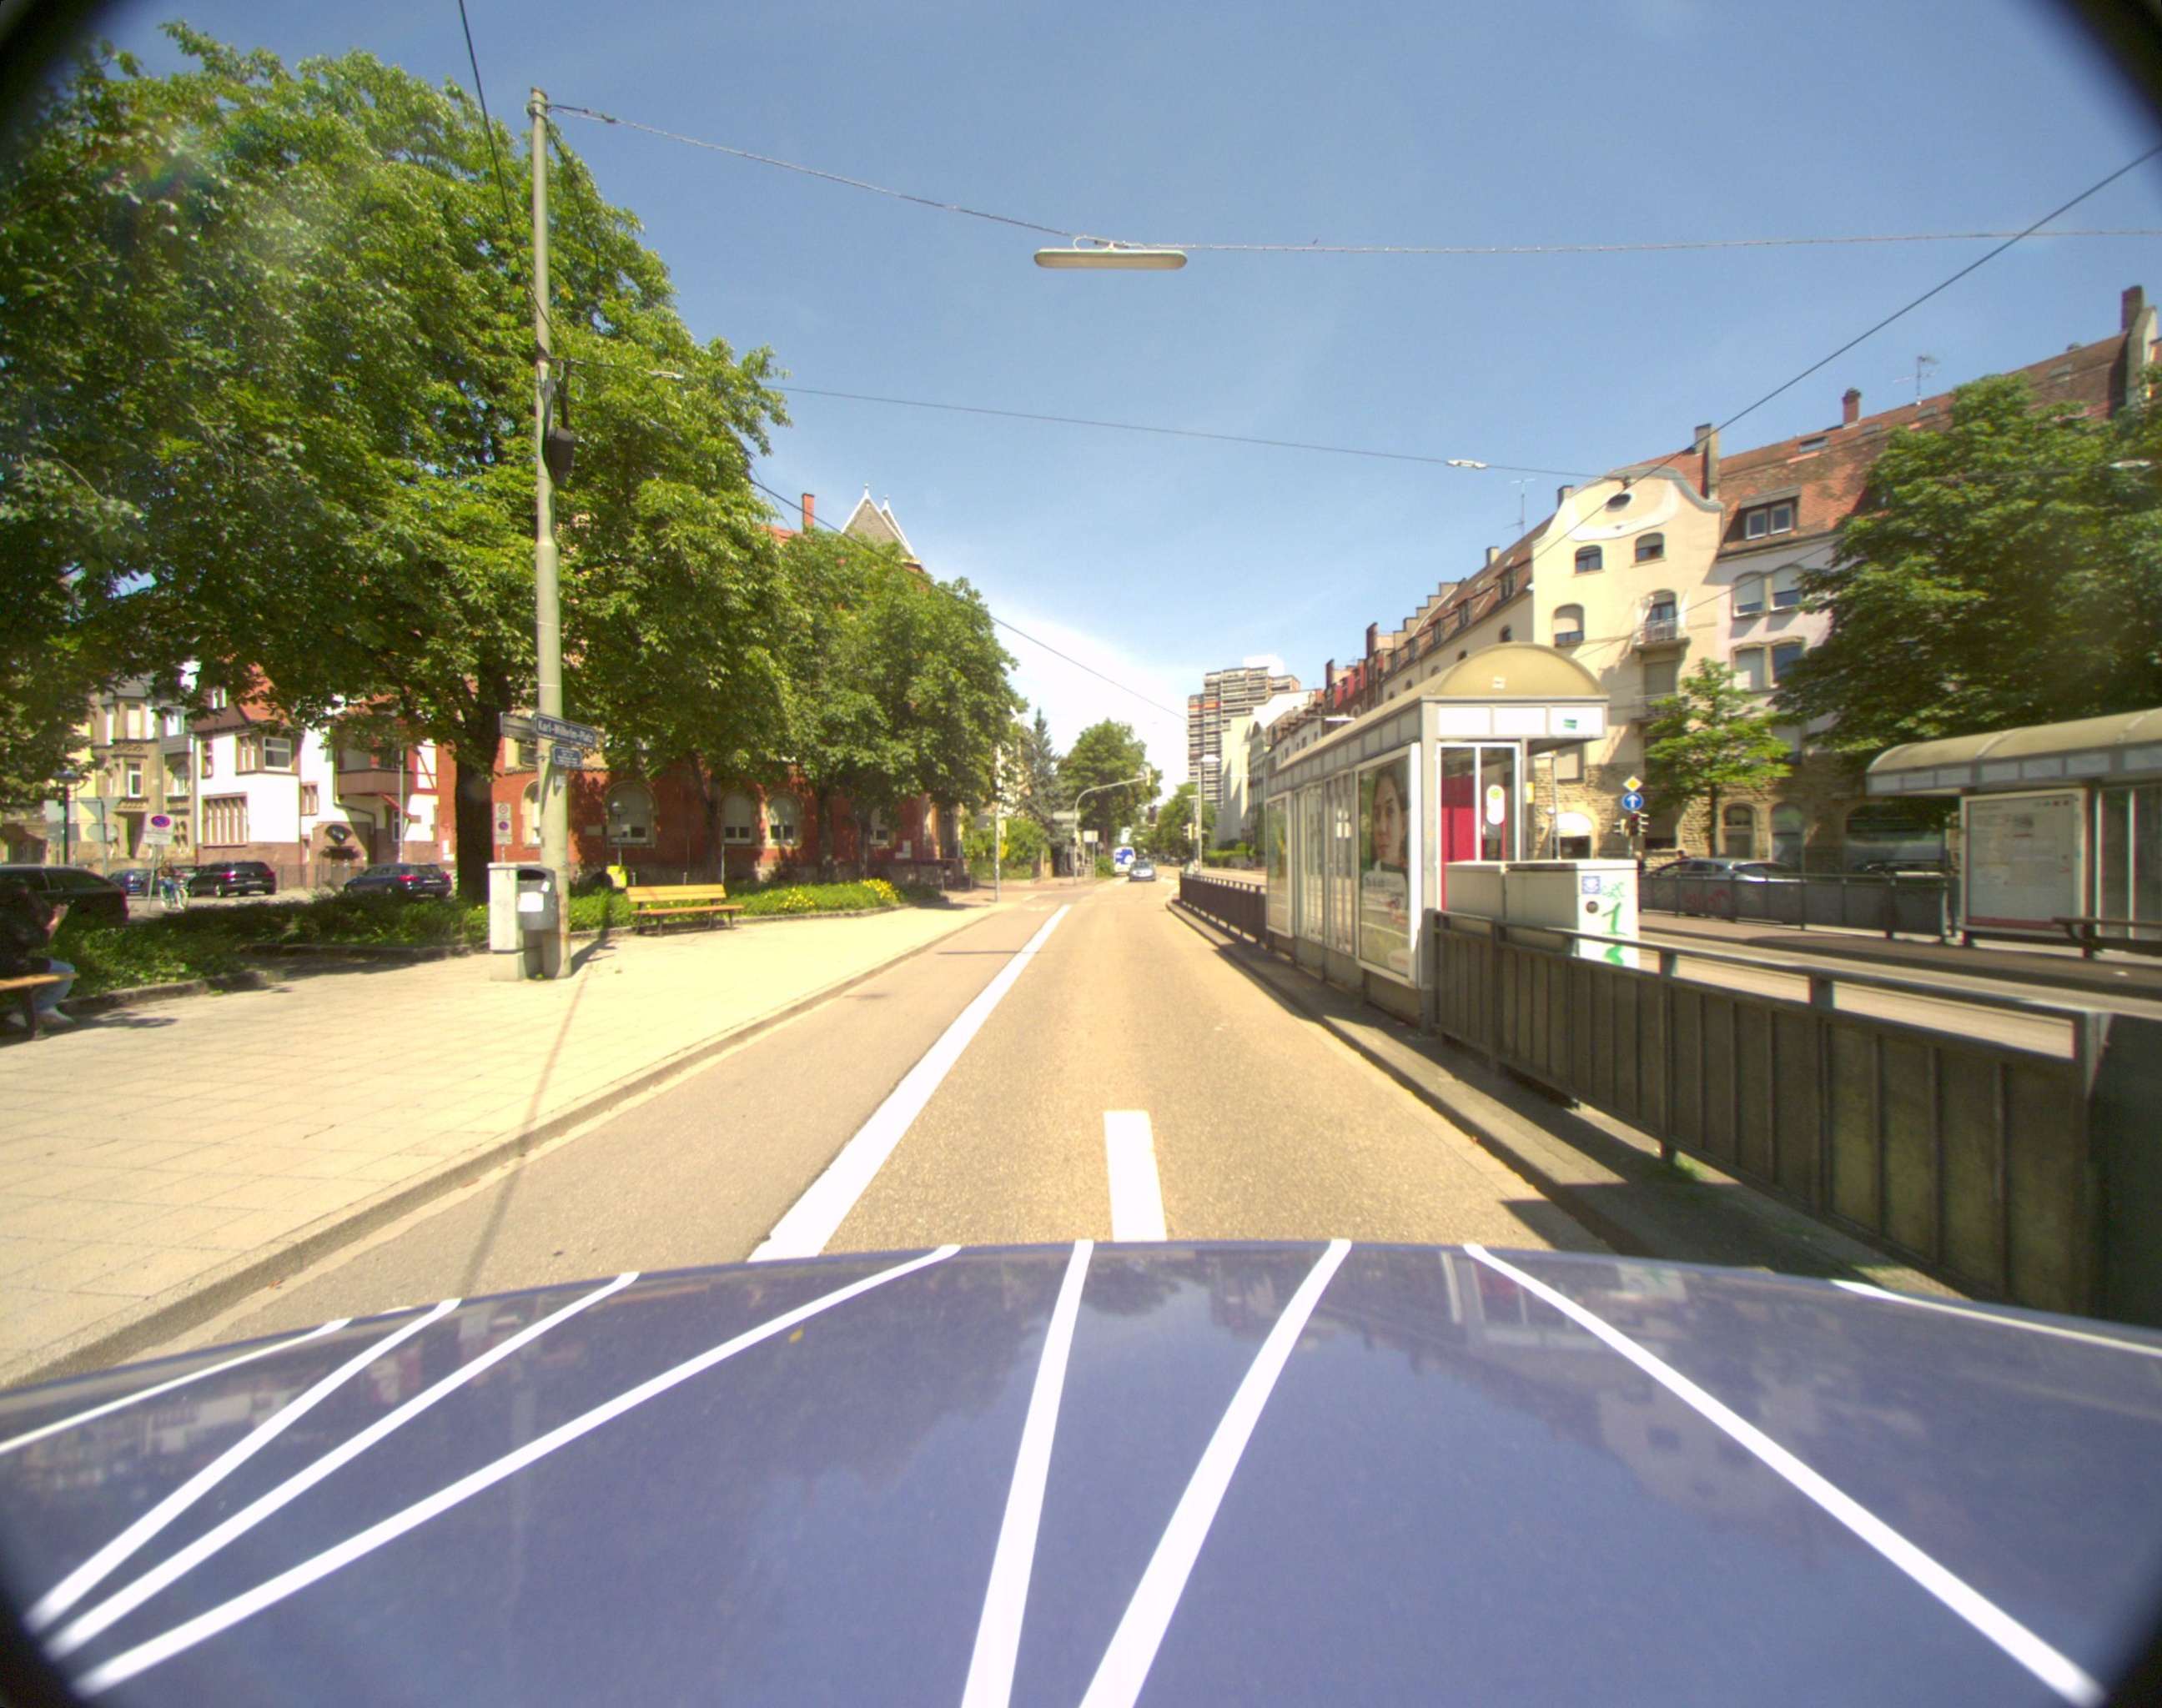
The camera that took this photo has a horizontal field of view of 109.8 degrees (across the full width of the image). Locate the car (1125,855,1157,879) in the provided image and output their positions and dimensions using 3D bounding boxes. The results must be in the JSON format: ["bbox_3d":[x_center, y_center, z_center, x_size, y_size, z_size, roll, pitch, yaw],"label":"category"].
[{"bbox_3d":[4.005,0.854,51.224,1.737,1.543,4.424,0,0,0],"label":"car"}]

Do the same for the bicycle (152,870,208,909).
[{"bbox_3d":[-30.487,1.186,25.701,1.926,1.285,0.641,0,0,22],"label":"bicycle"}]

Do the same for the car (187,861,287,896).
[{"bbox_3d":[-39.541,1.127,35.599,4.235,1.554,1.706,0,0,21],"label":"car"}]

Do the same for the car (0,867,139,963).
[{"bbox_3d":[-18.762,1.039,12.540,1.614,1.554,4.064,0,0,-6],"label":"car"}]

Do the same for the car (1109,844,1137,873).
[{"bbox_3d":[3.698,0.321,67.805,2.236,2.478,5.266,0,1,0],"label":"car"}]

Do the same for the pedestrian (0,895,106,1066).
[{"bbox_3d":[-7.781,0.893,5.474,0.652,1.143,0.642,-1,0,-14],"label":"pedestrian"}]

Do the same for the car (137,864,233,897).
[{"bbox_3d":[-44.287,1.285,37.554,4.235,1.554,1.706,0,0,21],"label":"car"}]

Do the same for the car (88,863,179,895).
[{"bbox_3d":[-49.184,1.268,39.453,4.235,1.554,1.706,0,0,21],"label":"car"}]

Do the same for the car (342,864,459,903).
[{"bbox_3d":[-26.987,1.127,30.131,4.309,1.443,1.647,0,0,21],"label":"car"}]

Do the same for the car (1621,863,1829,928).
[{"bbox_3d":[14.847,0.894,17.832,1.697,1.302,3.849,0,0,1],"label":"car"}]

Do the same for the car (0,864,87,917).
[{"bbox_3d":[-32.743,1.090,22.109,1.641,1.554,4.326,0,0,22],"label":"car"}]

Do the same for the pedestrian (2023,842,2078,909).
[{"bbox_3d":[20.841,0.455,16.335,0.537,1.433,0.520,0,0,-8],"label":"pedestrian"}]

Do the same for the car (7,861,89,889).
[{"bbox_3d":[-59.615,1.204,43.865,4.235,1.554,1.706,0,0,21],"label":"car"}]

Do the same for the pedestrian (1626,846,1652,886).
[{"bbox_3d":[20.170,0.415,27.472,0.537,1.433,0.520,0,0,-7],"label":"pedestrian"}]

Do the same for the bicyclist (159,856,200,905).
[{"bbox_3d":[-30.486,0.883,25.702,0.861,1.614,0.641,0,1,22],"label":"bicyclist"}]

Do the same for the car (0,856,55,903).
[{"bbox_3d":[-37.244,0.862,24.701,1.641,1.554,4.326,0,0,22],"label":"car"}]
